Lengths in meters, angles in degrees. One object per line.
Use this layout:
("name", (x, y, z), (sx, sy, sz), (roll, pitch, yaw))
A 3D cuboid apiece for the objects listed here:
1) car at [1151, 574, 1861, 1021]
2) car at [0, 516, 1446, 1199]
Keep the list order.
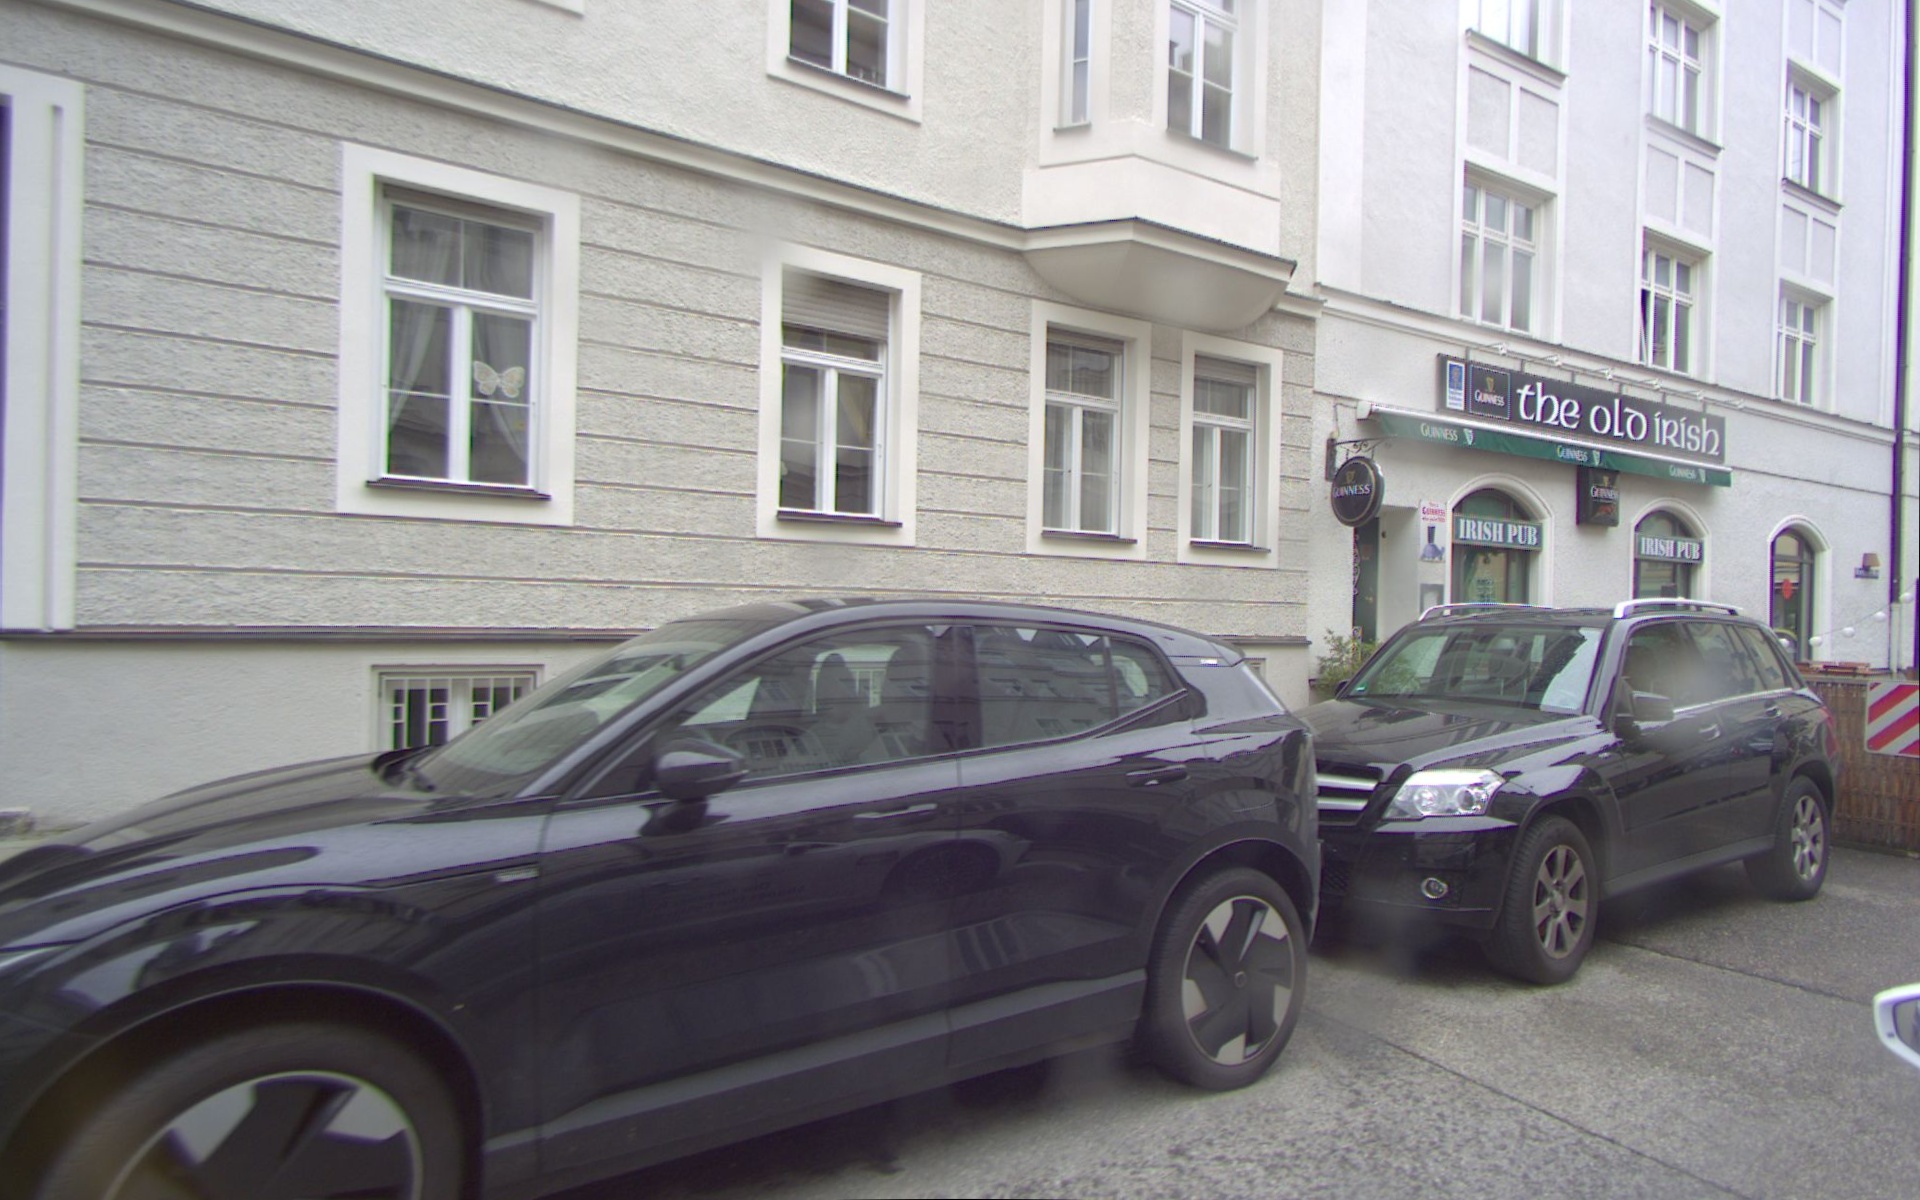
("car", (3.242, 0.823, 5.714), (4.229, 1.695, 1.736), (2, -3, -33))
("car", (-0.432, 0.655, 3.326), (4.135, 1.506, 1.732), (2, 0, -32))
